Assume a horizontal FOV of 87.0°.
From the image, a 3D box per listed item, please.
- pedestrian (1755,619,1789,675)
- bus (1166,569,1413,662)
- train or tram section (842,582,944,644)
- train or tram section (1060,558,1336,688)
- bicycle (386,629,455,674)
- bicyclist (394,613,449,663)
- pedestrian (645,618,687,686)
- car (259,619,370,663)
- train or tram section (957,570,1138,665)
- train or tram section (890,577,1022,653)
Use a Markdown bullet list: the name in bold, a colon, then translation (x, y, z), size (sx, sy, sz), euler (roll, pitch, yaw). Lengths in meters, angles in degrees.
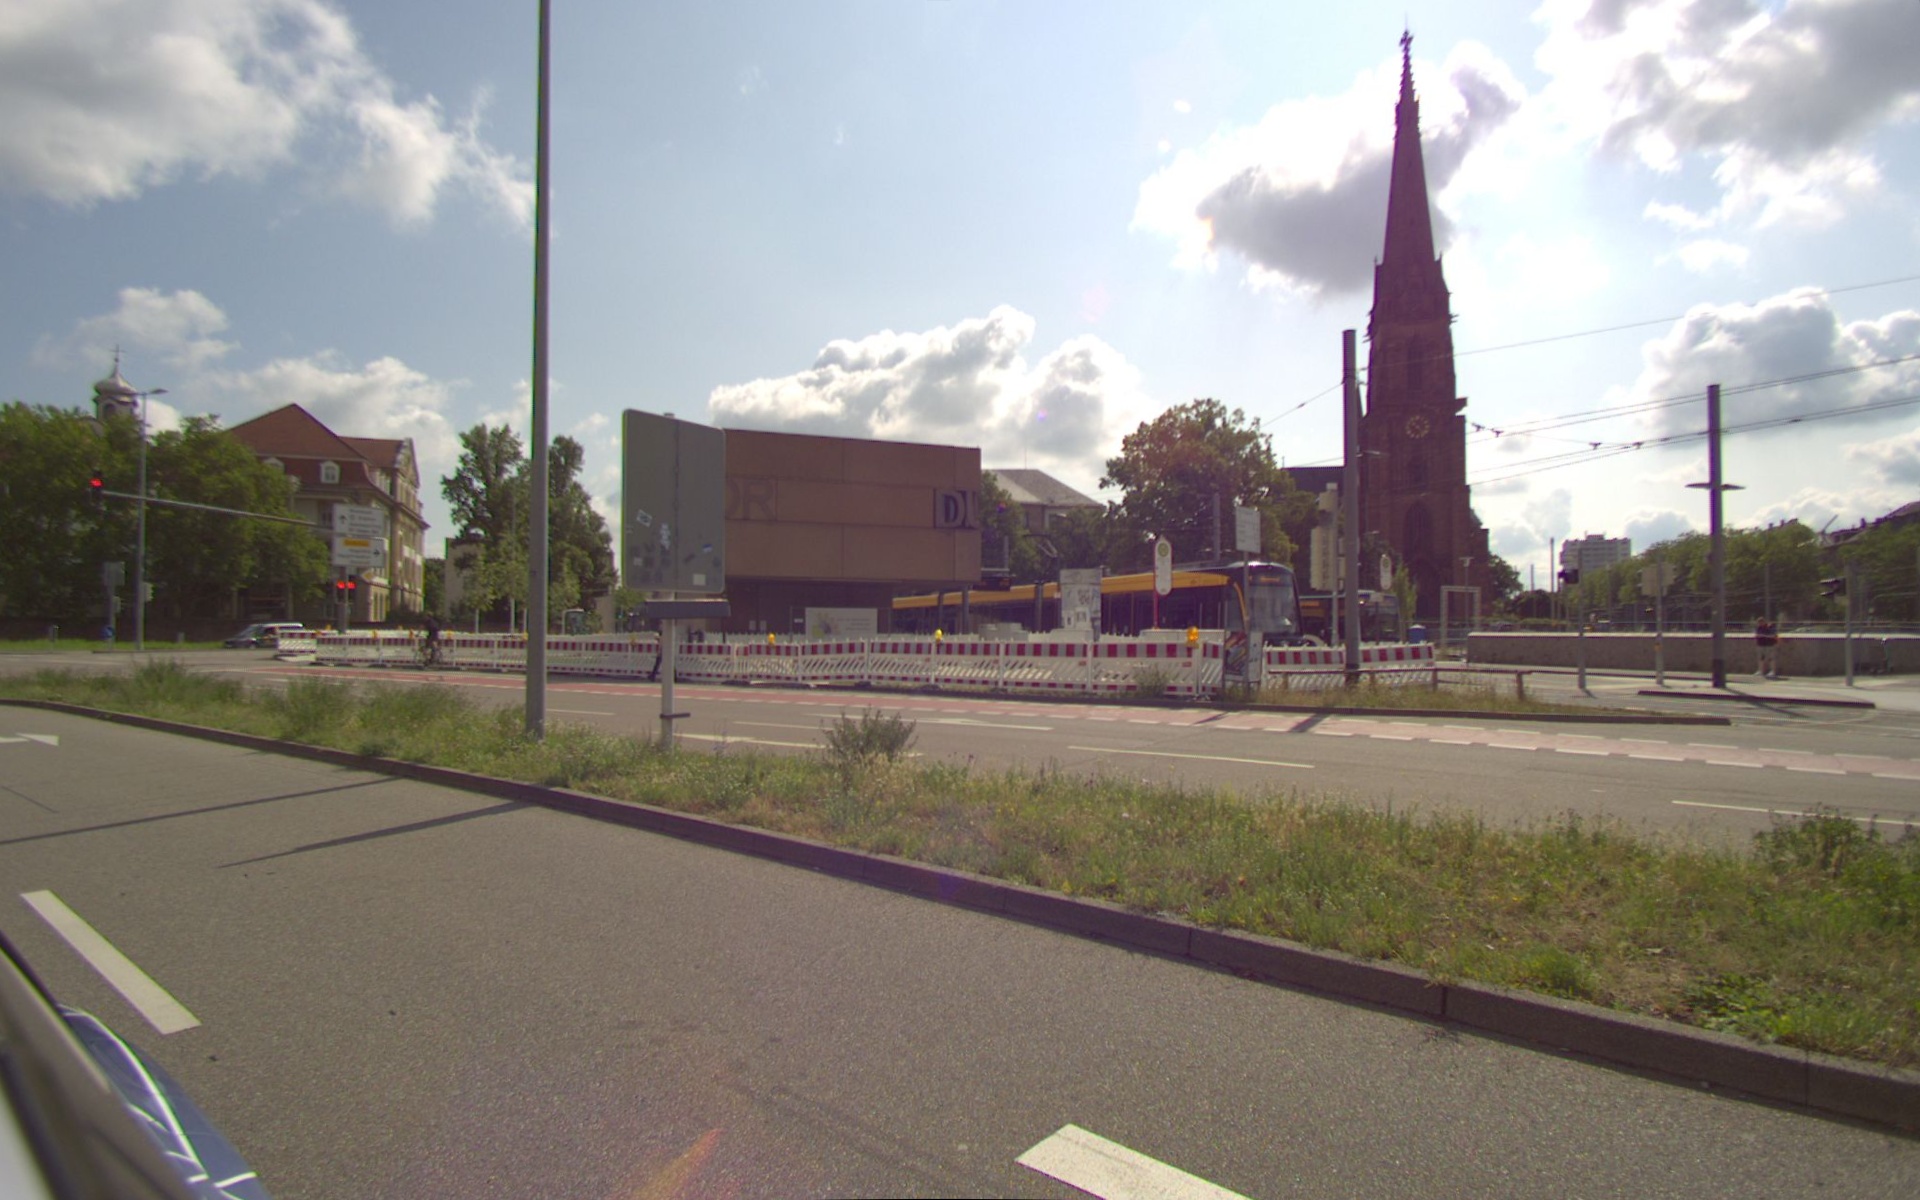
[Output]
- **pedestrian**: translation (26.553, 1.524, 33.106), size (0.708, 1.808, 0.564), euler (1, -2, -22)
- **bus**: translation (14.332, 0.812, 45.924), size (2.865, 3.648, 12.417), euler (1, -2, -26)
- **train or tram section**: translation (-4.389, 0.752, 62.765), size (3.267, 3.507, 10.643), euler (-1, 0, -21)
- **train or tram section**: translation (7.139, 0.618, 32.889), size (3.267, 3.507, 10.643), euler (-1, 0, -21)
- **bicycle**: translation (-17.411, 1.636, 32.645), size (2.286, 1.421, 0.962), euler (-1, -2, 32)
- **bicyclist**: translation (-17.416, 1.239, 32.743), size (1.769, 1.575, 0.769), euler (-1, -2, 31)
- **pedestrian**: translation (-7.960, 1.396, 27.389), size (1.001, 1.777, 0.644), euler (-2, -3, 40)
- **car**: translation (-27.977, 1.768, 44.046), size (3.931, 1.796, 2.006), euler (1, -2, -29)
- **train or tram section**: translation (3.326, 0.658, 42.896), size (3.267, 3.507, 10.643), euler (-1, 0, -21)
- **train or tram section**: translation (-0.484, 0.704, 52.771), size (3.267, 3.507, 10.643), euler (-1, 0, -21)
